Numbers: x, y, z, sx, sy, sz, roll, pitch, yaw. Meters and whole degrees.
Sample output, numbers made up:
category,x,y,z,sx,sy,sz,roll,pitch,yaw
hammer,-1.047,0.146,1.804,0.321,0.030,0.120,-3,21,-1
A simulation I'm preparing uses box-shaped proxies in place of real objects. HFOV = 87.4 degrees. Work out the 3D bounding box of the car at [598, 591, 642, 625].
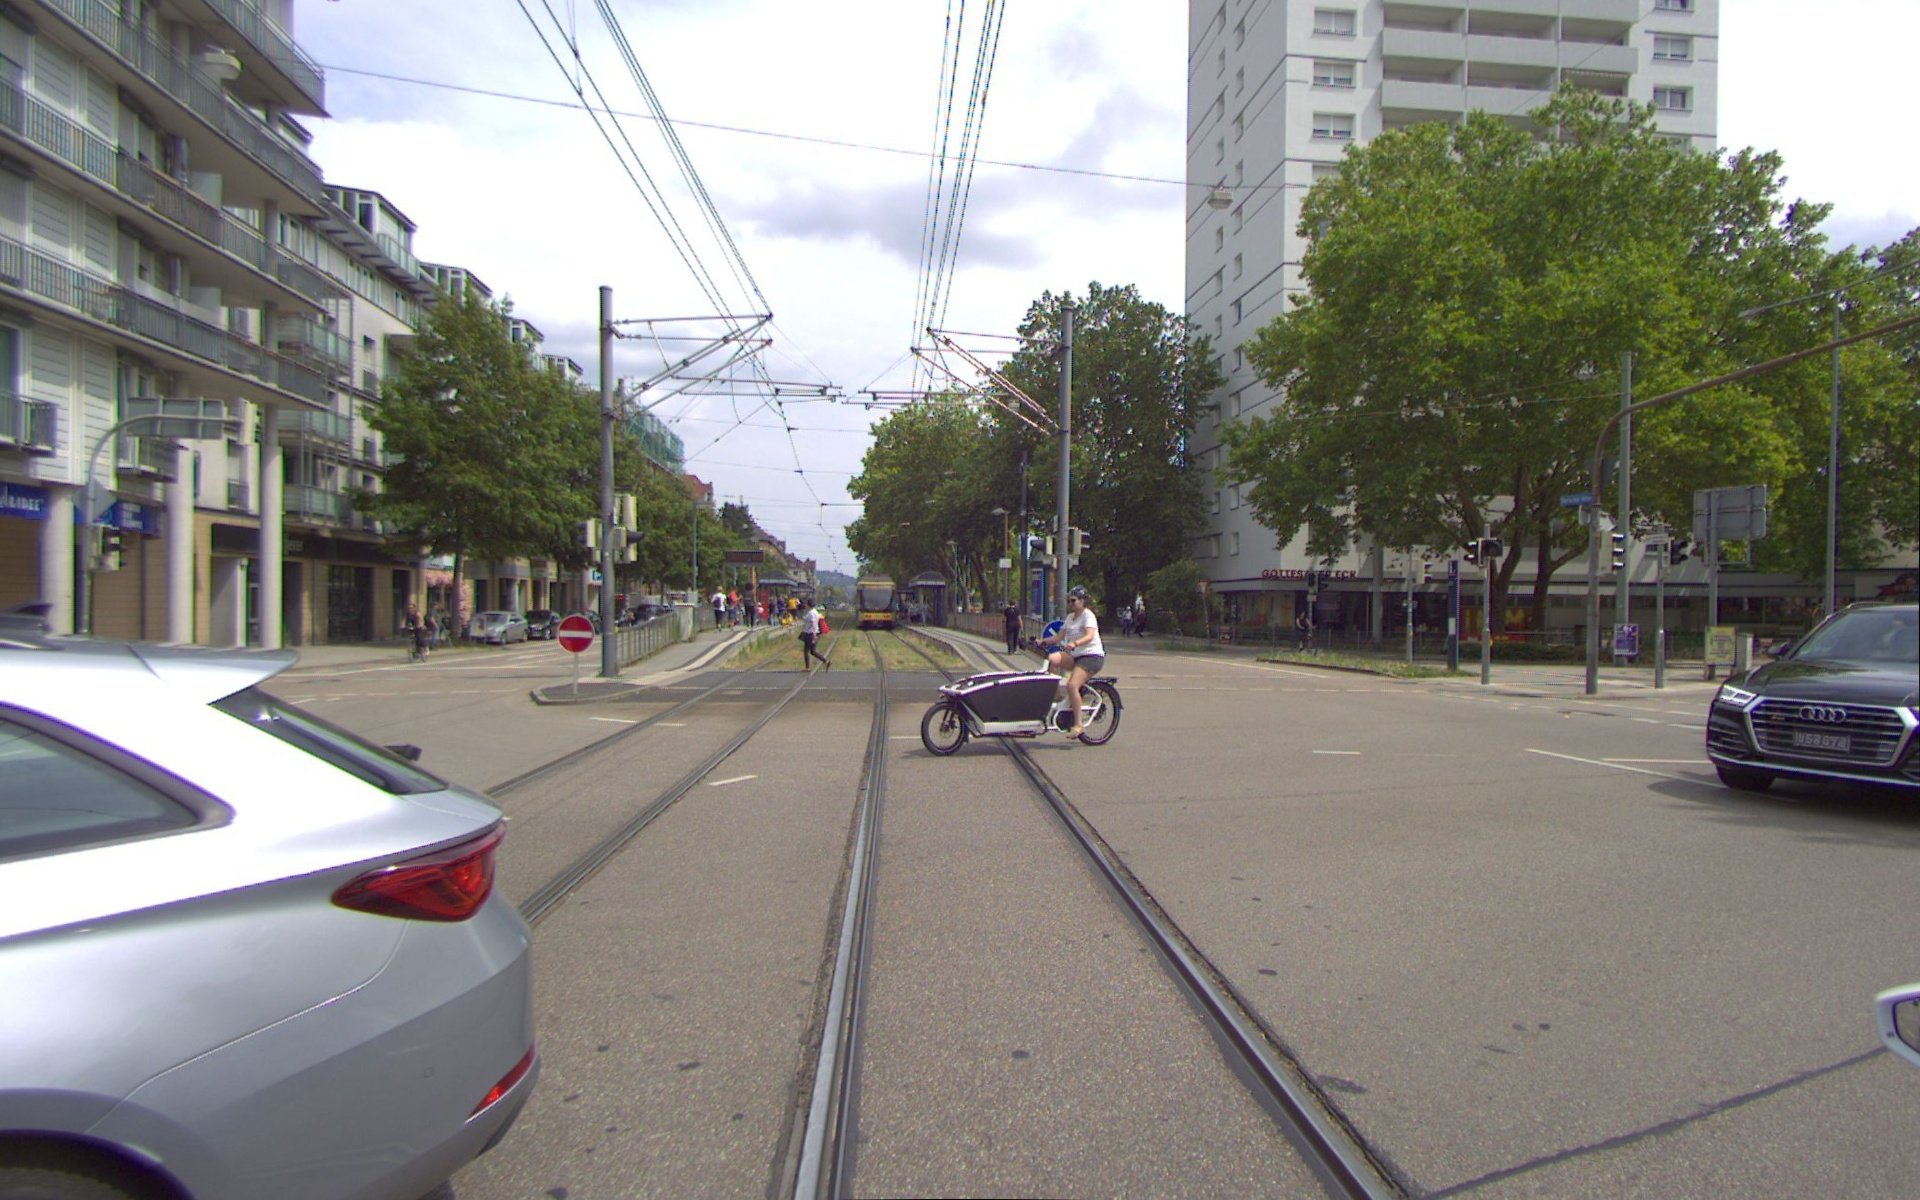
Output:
category,x,y,z,sx,sy,sz,roll,pitch,yaw
car,-21.334,0.500,63.200,1.964,2.040,3.994,0,0,-9

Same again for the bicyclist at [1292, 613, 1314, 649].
category,x,y,z,sx,sy,sz,roll,pitch,yaw
bicyclist,13.200,1.201,38.702,0.483,1.360,0.751,0,-3,-10

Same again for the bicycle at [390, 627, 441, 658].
category,x,y,z,sx,sy,sz,roll,pitch,yaw
bicycle,-15.803,1.212,29.192,0.640,0.827,1.789,0,0,-6

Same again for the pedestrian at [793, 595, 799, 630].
category,x,y,z,sx,sy,sz,roll,pitch,yaw
pedestrian,-9.446,0.733,57.777,0.320,1.980,0.311,0,0,-16

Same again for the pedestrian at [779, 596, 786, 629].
category,x,y,z,sx,sy,sz,roll,pitch,yaw
pedestrian,-10.507,0.751,59.476,0.320,1.980,0.311,0,0,-16

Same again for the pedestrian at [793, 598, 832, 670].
category,x,y,z,sx,sy,sz,roll,pitch,yaw
pedestrian,-3.290,0.741,22.485,0.852,1.573,0.838,0,0,-7

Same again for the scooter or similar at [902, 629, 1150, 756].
category,x,y,z,sx,sy,sz,roll,pitch,yaw
scooter or similar,0.739,0.904,10.534,2.657,1.153,0.735,0,0,-31

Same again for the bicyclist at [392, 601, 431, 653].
category,x,y,z,sx,sy,sz,roll,pitch,yaw
bicyclist,-15.768,0.773,28.910,0.629,1.463,0.999,0,0,-6

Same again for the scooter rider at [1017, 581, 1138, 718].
category,x,y,z,sx,sy,sz,roll,pitch,yaw
scooter rider,1.266,0.507,10.852,1.074,1.395,0.735,0,0,-31

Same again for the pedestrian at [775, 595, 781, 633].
category,x,y,z,sx,sy,sz,roll,pitch,yaw
pedestrian,-9.608,0.737,53.022,0.282,2.040,0.354,0,0,-7

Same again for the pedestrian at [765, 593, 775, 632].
category,x,y,z,sx,sy,sz,roll,pitch,yaw
pedestrian,-9.999,0.656,52.812,0.492,2.040,0.369,0,0,-7

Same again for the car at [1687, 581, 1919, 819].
category,x,y,z,sx,sy,sz,roll,pitch,yaw
car,8.327,0.715,8.628,4.377,1.669,1.812,1,1,-32

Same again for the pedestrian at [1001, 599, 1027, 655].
category,x,y,z,sx,sy,sz,roll,pitch,yaw
pedestrian,1.537,0.768,28.738,0.657,1.573,0.598,0,0,-8

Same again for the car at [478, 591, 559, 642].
category,x,y,z,sx,sy,sz,roll,pitch,yaw
car,-18.705,0.673,42.739,1.962,2.040,3.997,0,0,-5

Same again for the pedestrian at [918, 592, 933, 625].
category,x,y,z,sx,sy,sz,roll,pitch,yaw
pedestrian,-2.153,0.532,62.194,0.837,2.040,0.872,0,0,-8

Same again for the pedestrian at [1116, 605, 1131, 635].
category,x,y,z,sx,sy,sz,roll,pitch,yaw
pedestrian,9.192,1.114,56.353,0.684,1.645,0.505,0,0,-9

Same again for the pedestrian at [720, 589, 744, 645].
category,x,y,z,sx,sy,sz,roll,pitch,yaw
pedestrian,-8.462,0.632,37.271,0.746,2.040,0.757,0,0,-6

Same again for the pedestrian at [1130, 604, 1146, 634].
category,x,y,z,sx,sy,sz,roll,pitch,yaw
pedestrian,9.882,1.031,55.668,0.684,1.657,0.683,0,0,-9

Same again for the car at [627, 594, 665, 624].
category,x,y,z,sx,sy,sz,roll,pitch,yaw
car,-22.045,0.637,70.547,1.964,2.040,3.994,0,0,-9

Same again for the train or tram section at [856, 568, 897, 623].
category,x,y,z,sx,sy,sz,roll,pitch,yaw
train or tram section,-5.509,-0.302,65.245,2.323,3.359,7.507,0,1,-7

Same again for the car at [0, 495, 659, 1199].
category,x,y,z,sx,sy,sz,roll,pitch,yaw
car,-2.986,0.609,1.119,4.809,1.544,1.748,1,0,-41

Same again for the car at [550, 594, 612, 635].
category,x,y,z,sx,sy,sz,roll,pitch,yaw
car,-19.505,0.712,51.849,1.962,2.040,3.997,0,0,-5

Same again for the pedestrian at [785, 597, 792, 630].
category,x,y,z,sx,sy,sz,roll,pitch,yaw
pedestrian,-9.841,0.769,57.605,0.320,1.908,0.311,0,0,-16

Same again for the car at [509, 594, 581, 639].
category,x,y,z,sx,sy,sz,roll,pitch,yaw
car,-19.282,0.740,46.860,1.962,2.040,3.997,0,0,-5

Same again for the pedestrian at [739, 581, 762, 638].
category,x,y,z,sx,sy,sz,roll,pitch,yaw
pedestrian,-7.508,0.337,36.023,0.746,2.040,0.757,0,0,-6

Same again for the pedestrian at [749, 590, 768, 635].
category,x,y,z,sx,sy,sz,roll,pitch,yaw
pedestrian,-9.095,0.563,45.391,0.746,2.040,0.757,0,0,-6

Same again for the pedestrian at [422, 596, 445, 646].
category,x,y,z,sx,sy,sz,roll,pitch,yaw
pedestrian,-18.644,0.740,35.551,0.514,1.745,0.560,1,0,37

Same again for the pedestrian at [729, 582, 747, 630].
category,x,y,z,sx,sy,sz,roll,pitch,yaw
pedestrian,-10.602,0.305,48.069,0.746,2.280,0.757,0,0,-6

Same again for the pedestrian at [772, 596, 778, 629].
category,x,y,z,sx,sy,sz,roll,pitch,yaw
pedestrian,-10.909,0.740,59.313,0.320,1.980,0.311,0,0,-16

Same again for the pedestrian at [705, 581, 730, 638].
category,x,y,z,sx,sy,sz,roll,pitch,yaw
pedestrian,-8.645,0.337,35.861,0.746,2.040,0.757,0,0,-6

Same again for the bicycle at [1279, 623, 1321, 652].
category,x,y,z,sx,sy,sz,roll,pitch,yaw
bicycle,13.160,1.451,38.962,0.616,1.108,1.967,0,-2,-12
